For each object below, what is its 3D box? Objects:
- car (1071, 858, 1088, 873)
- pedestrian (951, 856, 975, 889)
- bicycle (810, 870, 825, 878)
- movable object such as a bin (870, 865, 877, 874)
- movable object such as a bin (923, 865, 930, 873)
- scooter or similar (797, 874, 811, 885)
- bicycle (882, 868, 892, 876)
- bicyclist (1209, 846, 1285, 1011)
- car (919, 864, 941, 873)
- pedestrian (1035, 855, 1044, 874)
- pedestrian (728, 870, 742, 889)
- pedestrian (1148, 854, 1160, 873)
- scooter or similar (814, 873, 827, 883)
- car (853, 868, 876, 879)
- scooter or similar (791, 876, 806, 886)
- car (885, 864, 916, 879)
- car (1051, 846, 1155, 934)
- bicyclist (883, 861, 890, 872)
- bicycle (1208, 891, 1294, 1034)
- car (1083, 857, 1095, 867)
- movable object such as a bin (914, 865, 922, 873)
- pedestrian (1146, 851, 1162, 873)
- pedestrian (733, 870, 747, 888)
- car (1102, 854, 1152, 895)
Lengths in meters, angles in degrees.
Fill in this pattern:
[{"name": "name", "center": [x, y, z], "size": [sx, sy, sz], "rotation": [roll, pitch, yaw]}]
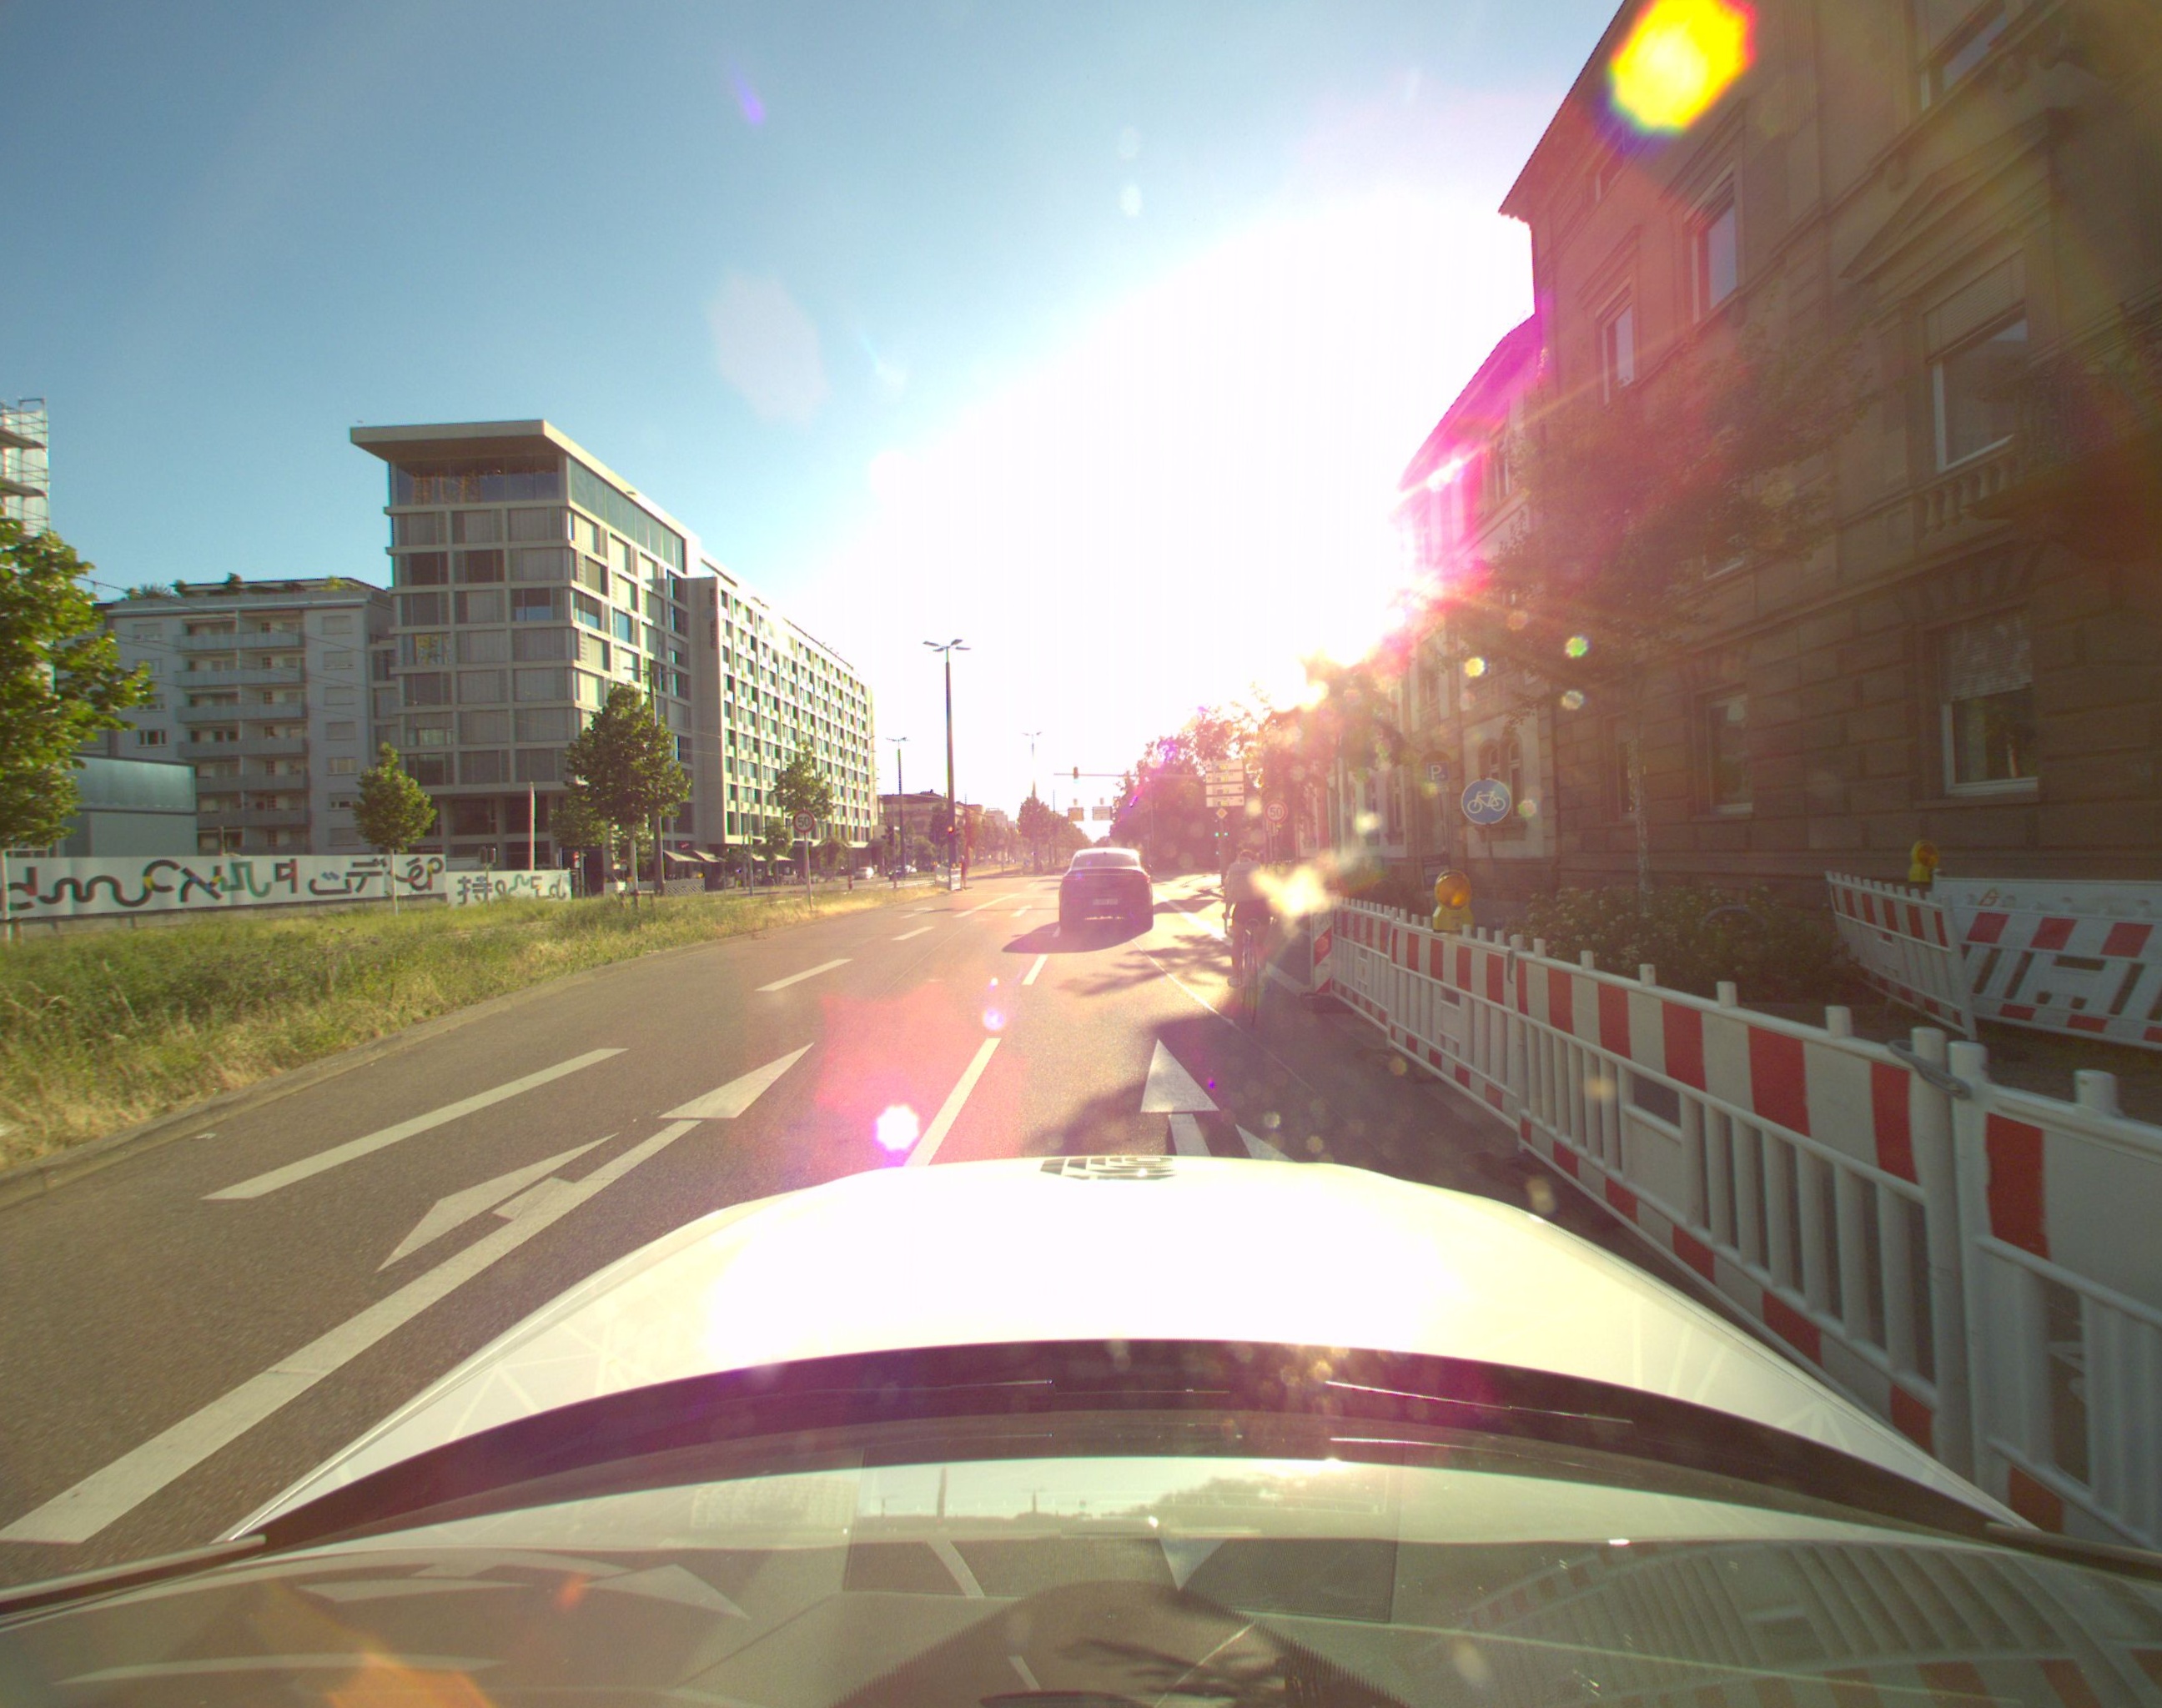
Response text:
[{"name": "car", "center": [-0.143, 1.348, 94.570], "size": [1.879, 1.580, 4.001], "rotation": [-1, 0, 1]}, {"name": "pedestrian", "center": [-6.094, 0.935, 42.043], "size": [0.917, 1.649, 0.768], "rotation": [-2, -1, 14]}, {"name": "bicycle", "center": [-35.408, 2.702, 109.418], "size": [1.801, 0.905, 0.511], "rotation": [-2, -1, -5]}, {"name": "movable object such as a bin", "center": [-34.259, 2.553, 134.429], "size": [0.797, 1.440, 1.403], "rotation": [-2, 0, 2]}, {"name": "movable object such as a bin", "center": [-26.423, 2.590, 139.107], "size": [0.851, 1.280, 0.944], "rotation": [-2, -1, 16]}, {"name": "scooter or similar", "center": [-28.955, 2.663, 85.070], "size": [1.238, 1.019, 0.435], "rotation": [-3, 0, 2]}, {"name": "bicycle", "center": [-25.619, 2.357, 107.474], "size": [0.622, 1.067, 2.079], "rotation": [-2, 0, 3]}, {"name": "bicyclist", "center": [1.604, 0.678, 7.985], "size": [0.550, 1.491, 1.082], "rotation": [-2, 0, 4]}, {"name": "car", "center": [-27.354, 2.575, 147.818], "size": [3.643, 1.523, 1.602], "rotation": [0, -1, -39]}, {"name": "pedestrian", "center": [-3.679, 0.939, 72.713], "size": [0.595, 1.699, 0.715], "rotation": [-2, 0, 7]}, {"name": "pedestrian", "center": [-32.792, 2.388, 77.265], "size": [0.863, 1.721, 0.806], "rotation": [-2, 0, 11]}, {"name": "pedestrian", "center": [6.396, 0.844, 71.091], "size": [0.766, 1.636, 0.768], "rotation": [-4, 0, -8]}, {"name": "scooter or similar", "center": [-28.705, 2.674, 89.612], "size": [1.238, 1.019, 0.435], "rotation": [-3, 0, 2]}, {"name": "car", "center": [-27.924, 2.466, 105.157], "size": [1.750, 1.328, 4.002], "rotation": [-1, 0, 2]}, {"name": "scooter or similar", "center": [-28.982, 2.765, 83.542], "size": [1.238, 1.019, 0.511], "rotation": [-3, 0, 2]}, {"name": "car", "center": [-18.520, 1.792, 83.655], "size": [1.884, 1.343, 4.852], "rotation": [-2, 0, 1]}, {"name": "car", "center": [0.623, 0.714, 18.420], "size": [1.983, 1.734, 4.007], "rotation": [-1, 0, 6]}, {"name": "bicyclist", "center": [-25.629, 1.684, 107.498], "size": [0.622, 1.465, 0.851], "rotation": [-2, -1, 2]}, {"name": "bicycle", "center": [1.583, 0.962, 7.808], "size": [0.518, 1.097, 1.845], "rotation": [-2, 0, 4]}, {"name": "car", "center": [1.414, 1.342, 139.574], "size": [1.879, 1.580, 4.001], "rotation": [-1, 0, 1]}, {"name": "movable object such as a bin", "center": [-27.817, 2.610, 138.818], "size": [0.851, 1.358, 0.944], "rotation": [-2, -1, 16]}, {"name": "pedestrian", "center": [6.443, 0.697, 72.004], "size": [0.863, 1.802, 0.898], "rotation": [-4, 0, -33]}, {"name": "pedestrian", "center": [-32.685, 2.389, 78.057], "size": [0.863, 1.721, 0.806], "rotation": [-2, 0, 11]}, {"name": "car", "center": [1.829, 0.794, 33.301], "size": [1.890, 1.527, 4.060], "rotation": [-2, 0, 1]}]
